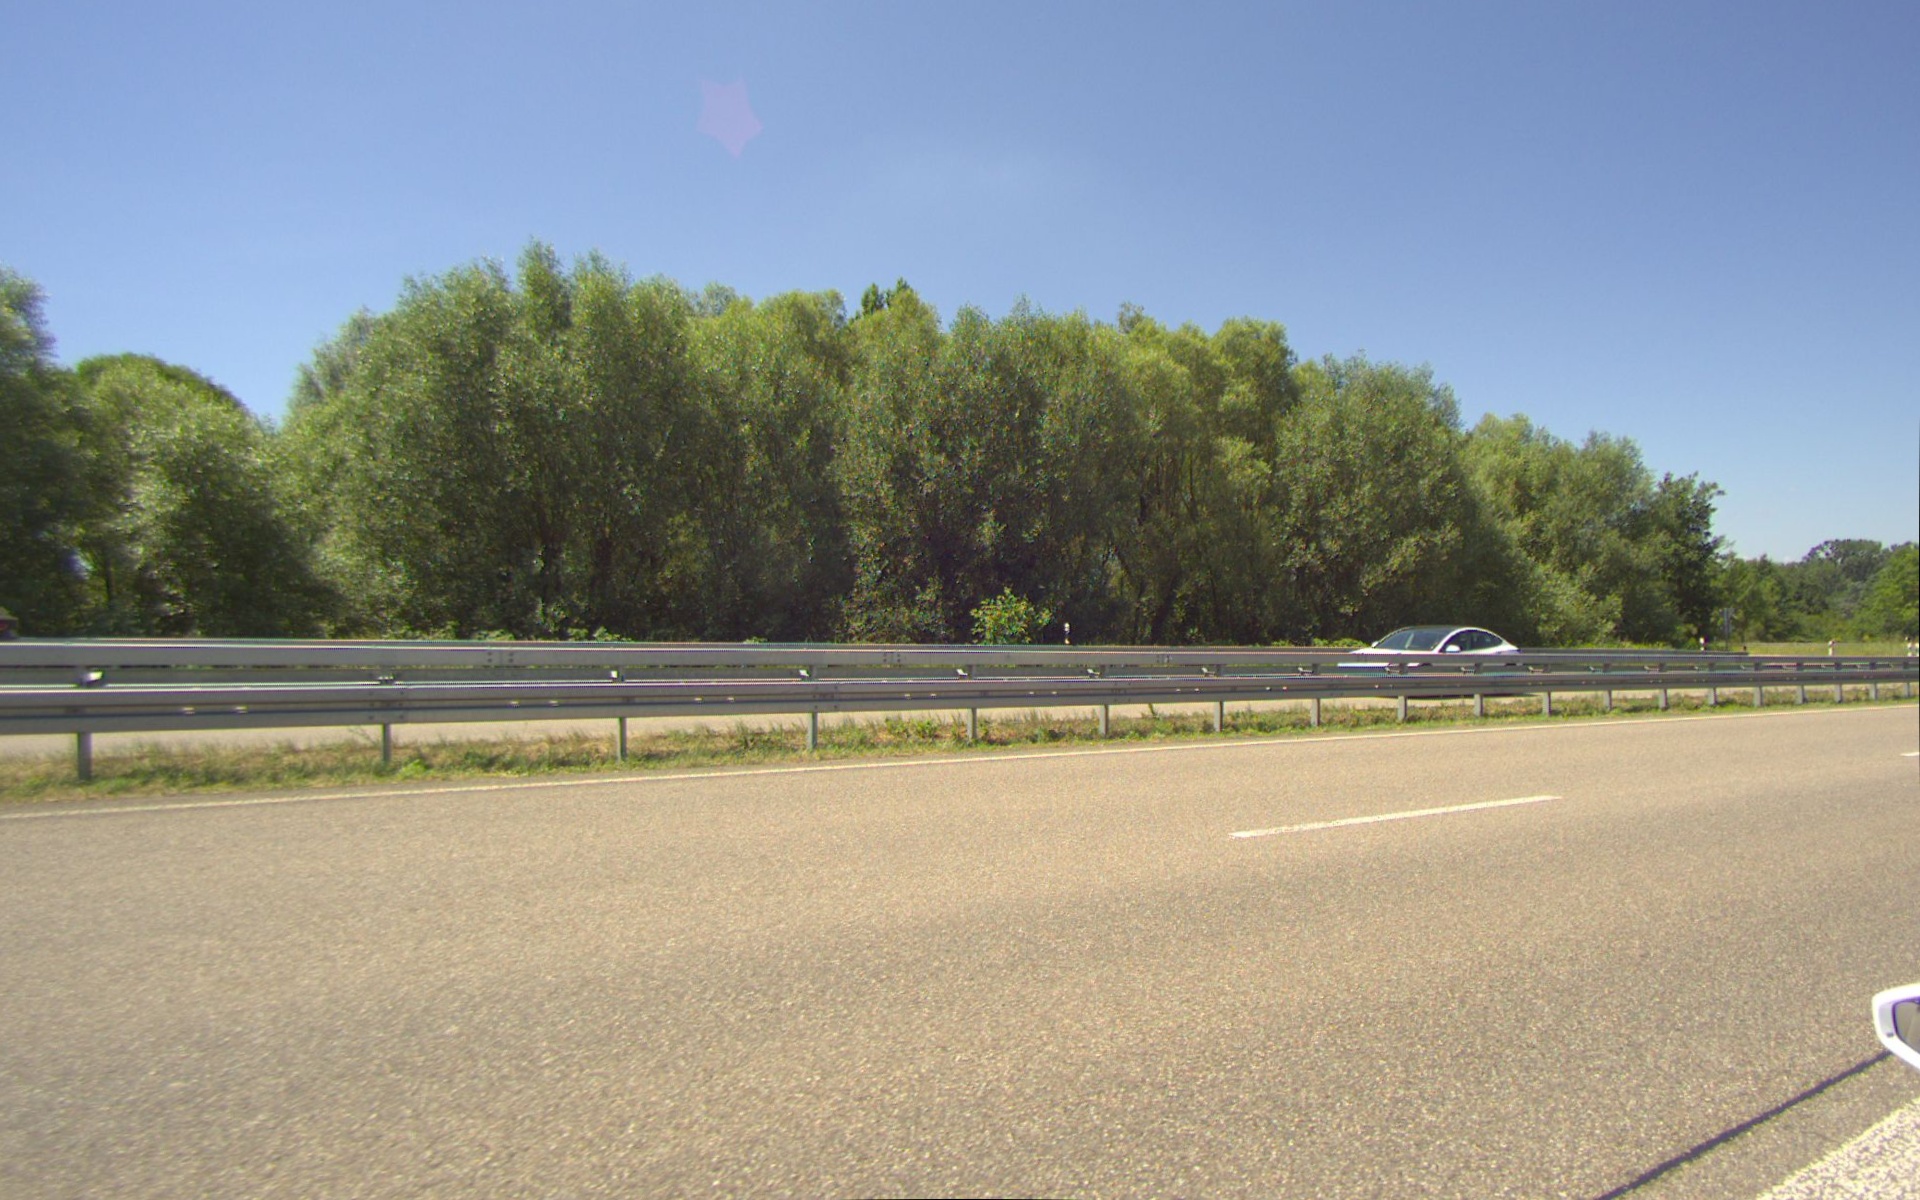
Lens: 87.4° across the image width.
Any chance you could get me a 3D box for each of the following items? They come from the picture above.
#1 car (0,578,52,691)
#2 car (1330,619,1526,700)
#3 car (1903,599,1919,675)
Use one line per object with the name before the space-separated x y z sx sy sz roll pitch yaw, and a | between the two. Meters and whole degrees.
car | -15.308 0.432 13.749 4.034 1.572 1.678 2 -1 -35
car | 9.910 1.213 21.217 3.956 1.509 1.907 2 -1 -32
car | 37.398 1.414 37.013 6.550 2.718 2.092 2 0 -30
